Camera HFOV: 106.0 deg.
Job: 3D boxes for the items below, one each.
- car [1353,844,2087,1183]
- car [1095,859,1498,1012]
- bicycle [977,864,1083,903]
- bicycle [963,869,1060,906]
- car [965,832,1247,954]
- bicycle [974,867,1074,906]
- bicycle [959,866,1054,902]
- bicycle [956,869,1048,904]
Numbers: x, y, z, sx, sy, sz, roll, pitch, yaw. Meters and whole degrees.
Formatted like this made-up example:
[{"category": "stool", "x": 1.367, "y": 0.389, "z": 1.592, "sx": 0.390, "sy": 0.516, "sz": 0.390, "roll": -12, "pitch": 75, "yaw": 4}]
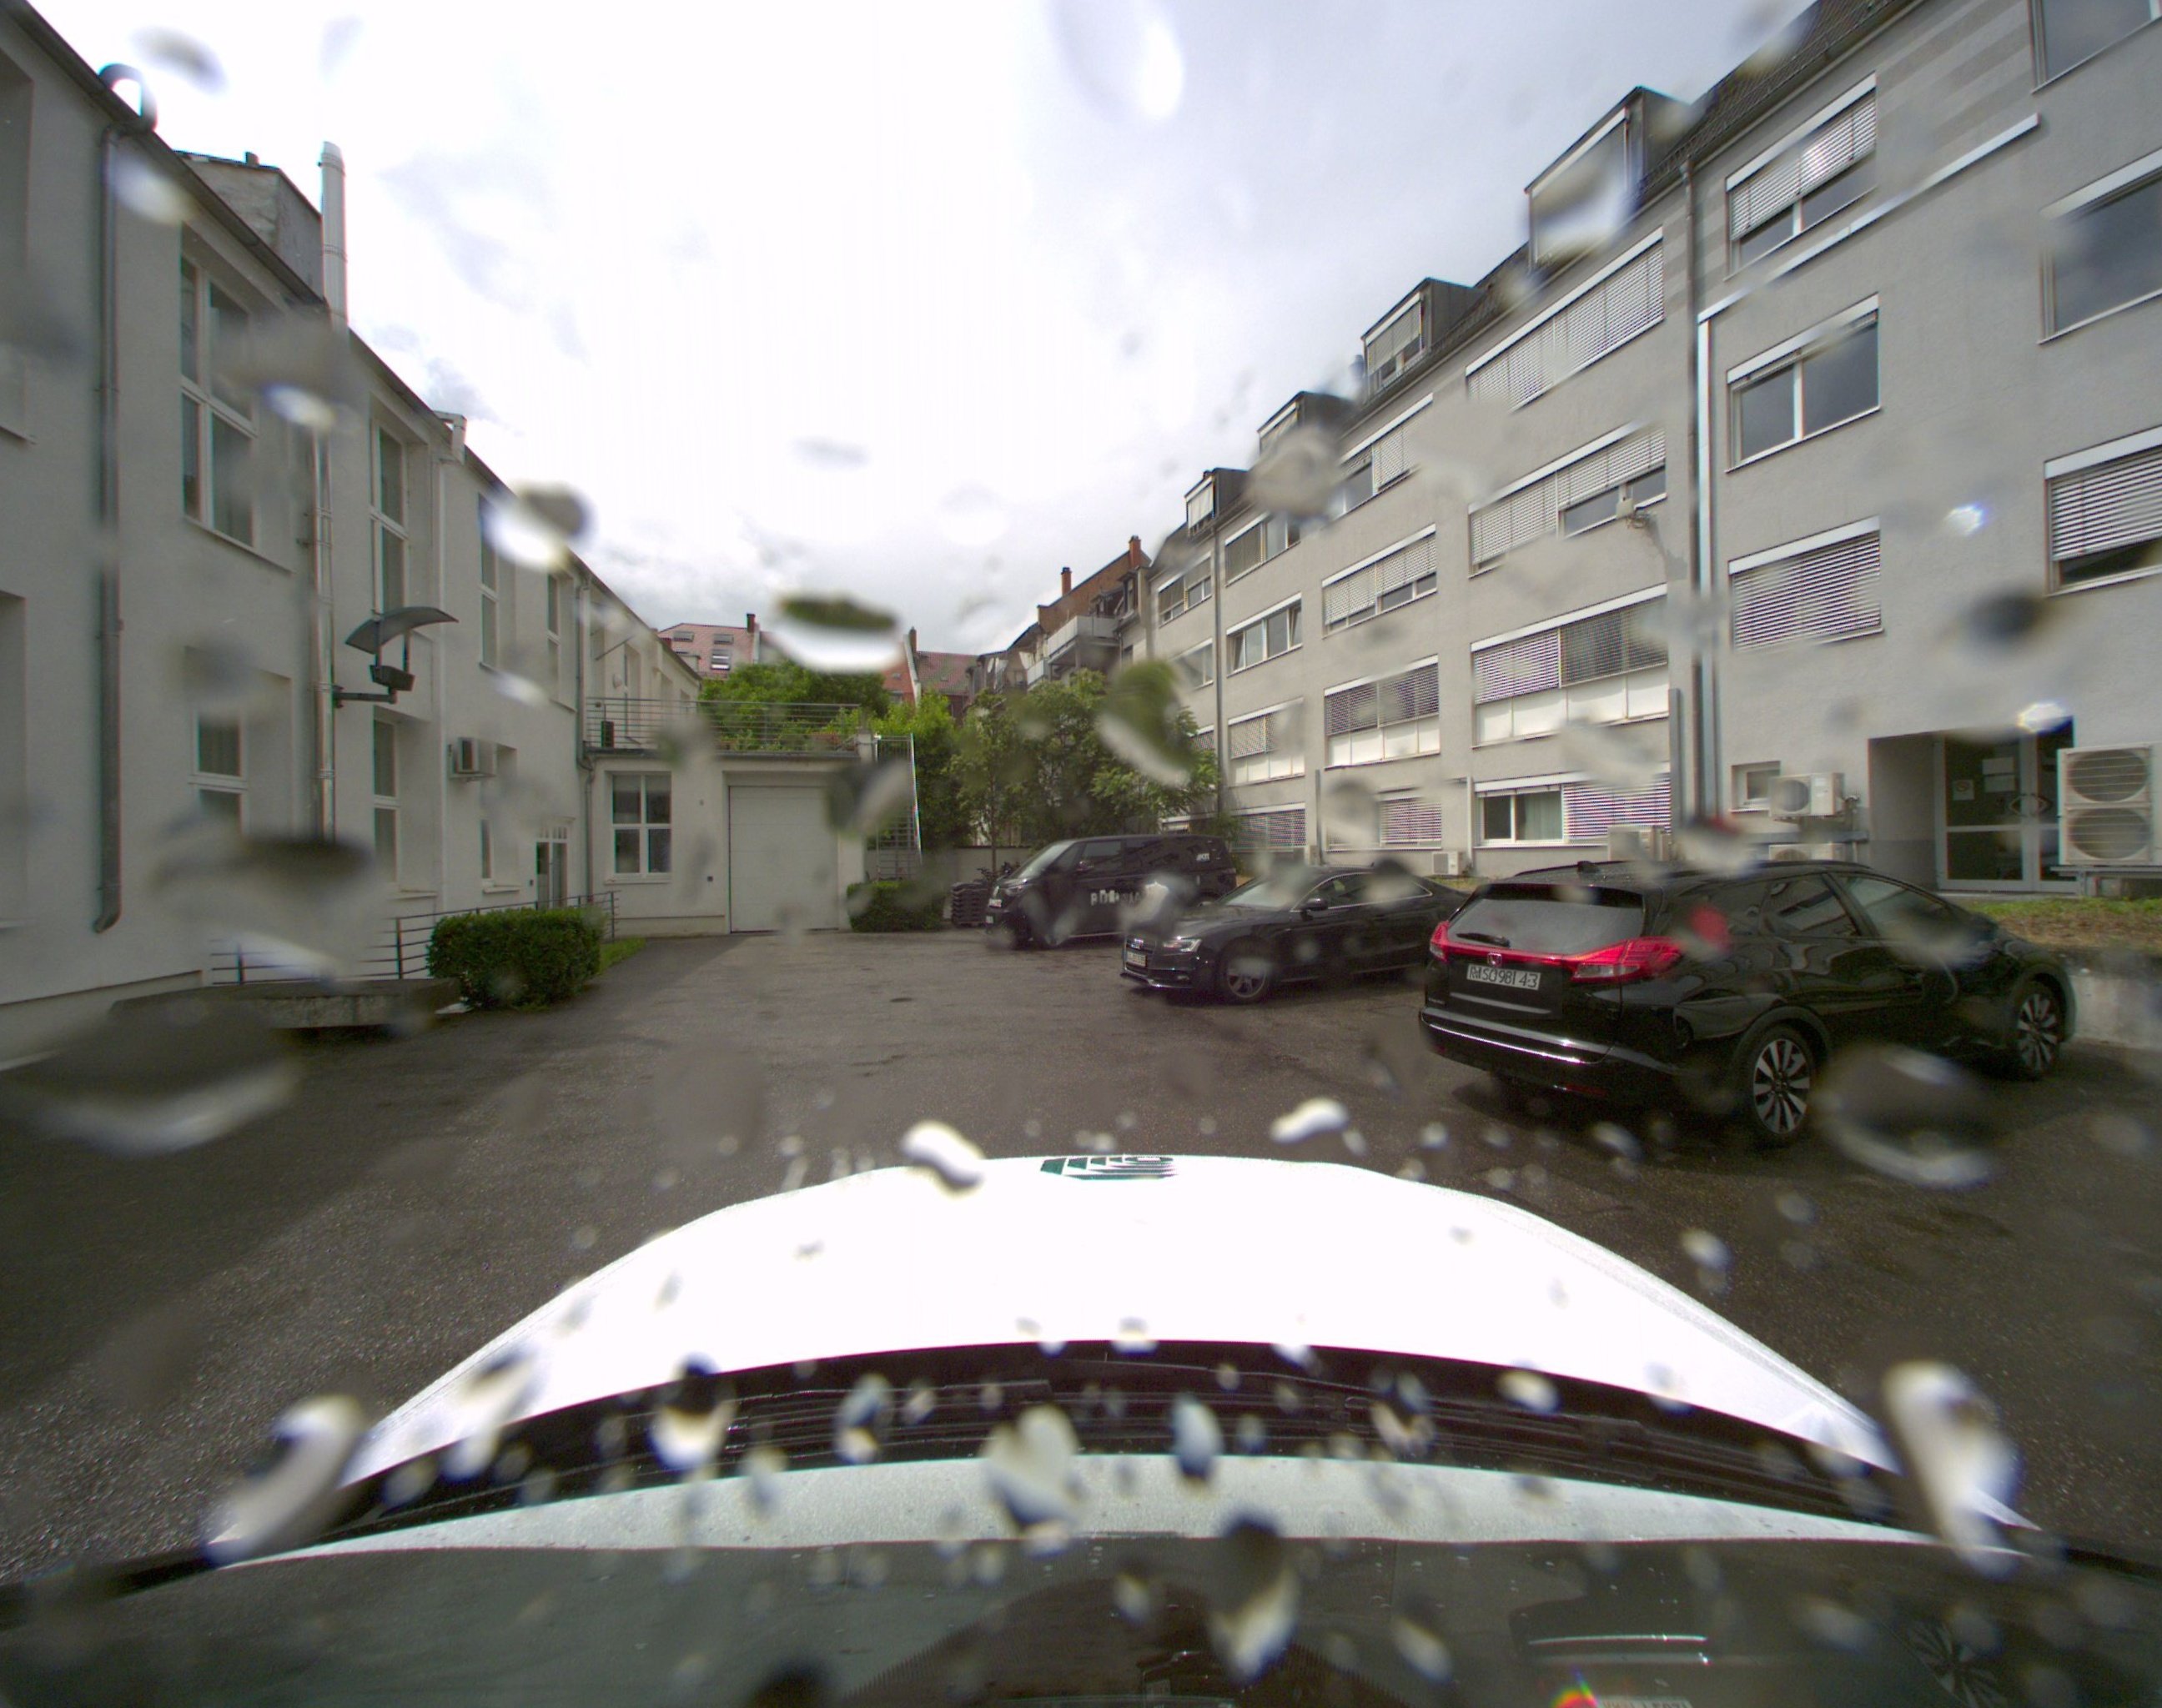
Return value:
[{"category": "car", "x": 4.139, "y": 0.724, "z": 5.347, "sx": 4.186, "sy": 1.401, "sz": 1.925, "roll": -2, "pitch": 0, "yaw": -22}, {"category": "car", "x": 2.542, "y": 0.808, "z": 9.633, "sx": 4.370, "sy": 1.348, "sz": 1.847, "roll": -2, "pitch": 0, "yaw": -22}, {"category": "bicycle", "x": -1.454, "y": 0.830, "z": 23.263, "sx": 2.931, "sy": 1.078, "sz": 0.685, "roll": 0, "pitch": 0, "yaw": -18}, {"category": "bicycle", "x": -2.104, "y": 0.998, "z": 24.623, "sx": 2.850, "sy": 1.078, "sz": 0.685, "roll": 0, "pitch": 0, "yaw": -18}, {"category": "car", "x": 0.447, "y": 0.613, "z": 15.031, "sx": 4.728, "sy": 1.833, "sz": 2.095, "roll": -2, "pitch": 0, "yaw": -22}, {"category": "bicycle", "x": -1.681, "y": 0.941, "z": 24.005, "sx": 2.850, "sy": 1.078, "sz": 0.685, "roll": 0, "pitch": 0, "yaw": -18}, {"category": "bicycle", "x": -2.309, "y": 0.926, "z": 25.303, "sx": 2.850, "sy": 1.078, "sz": 0.685, "roll": 0, "pitch": 0, "yaw": -18}, {"category": "bicycle", "x": -2.515, "y": 1.012, "z": 25.977, "sx": 2.850, "sy": 1.078, "sz": 0.685, "roll": 0, "pitch": 0, "yaw": -18}]
